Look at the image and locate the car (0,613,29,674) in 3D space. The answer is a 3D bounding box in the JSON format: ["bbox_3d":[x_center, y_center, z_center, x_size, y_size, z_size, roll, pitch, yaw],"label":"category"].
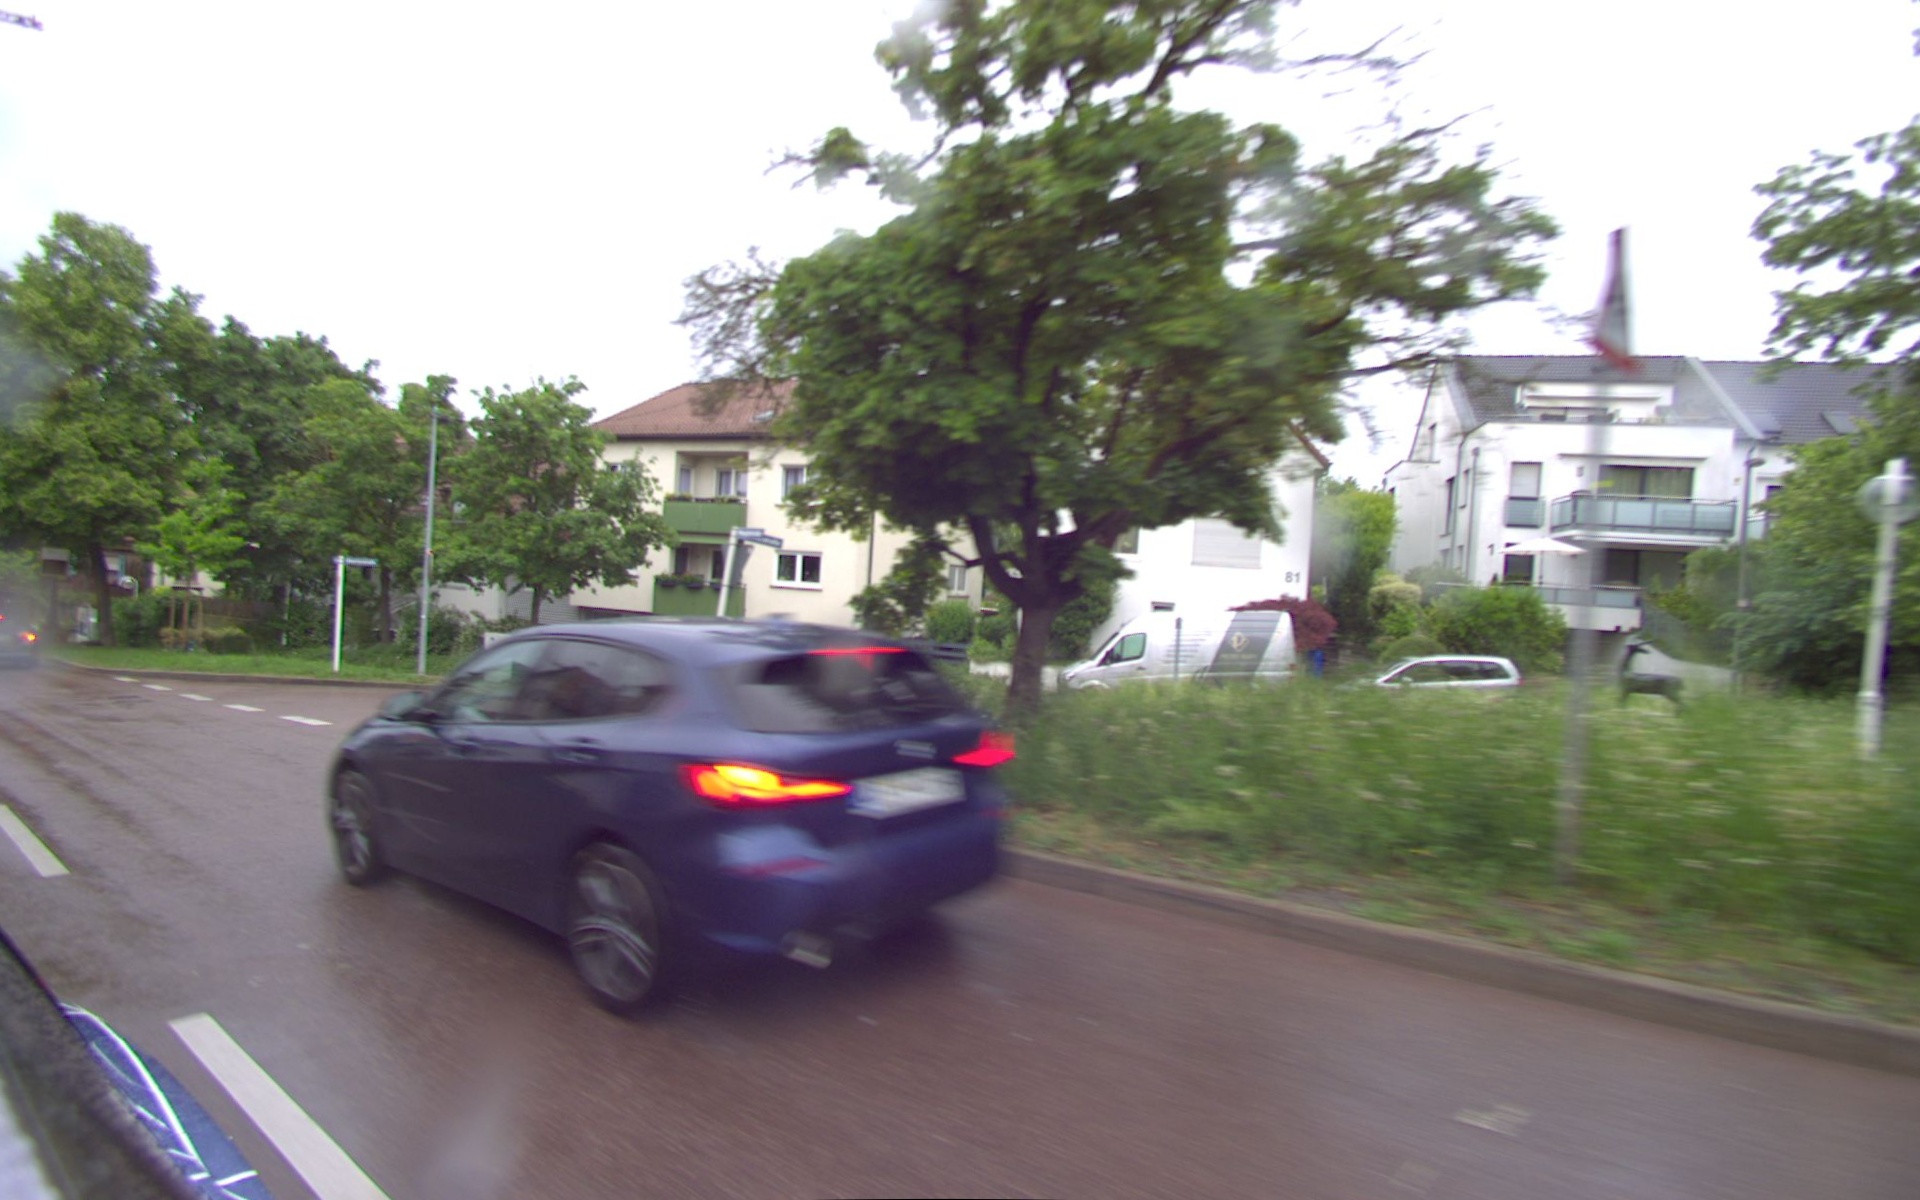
[{"bbox_3d":[-24.794,1.063,25.511,4.083,1.465,1.544,-1,-1,41],"label":"car"}]

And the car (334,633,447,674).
[{"bbox_3d":[-20.583,1.912,36.594,3.429,1.339,1.982,-1,-1,26],"label":"car"}]

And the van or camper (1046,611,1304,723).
[{"bbox_3d":[5.176,1.575,24.880,5.999,2.576,1.636,0,1,11],"label":"van or camper"}]

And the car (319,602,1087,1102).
[{"bbox_3d":[-1.464,0.758,4.847,3.843,1.440,1.701,-1,-1,41],"label":"car"}]

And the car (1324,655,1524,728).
[{"bbox_3d":[10.926,2.145,24.042,3.990,1.560,1.557,0,-1,6],"label":"car"}]
